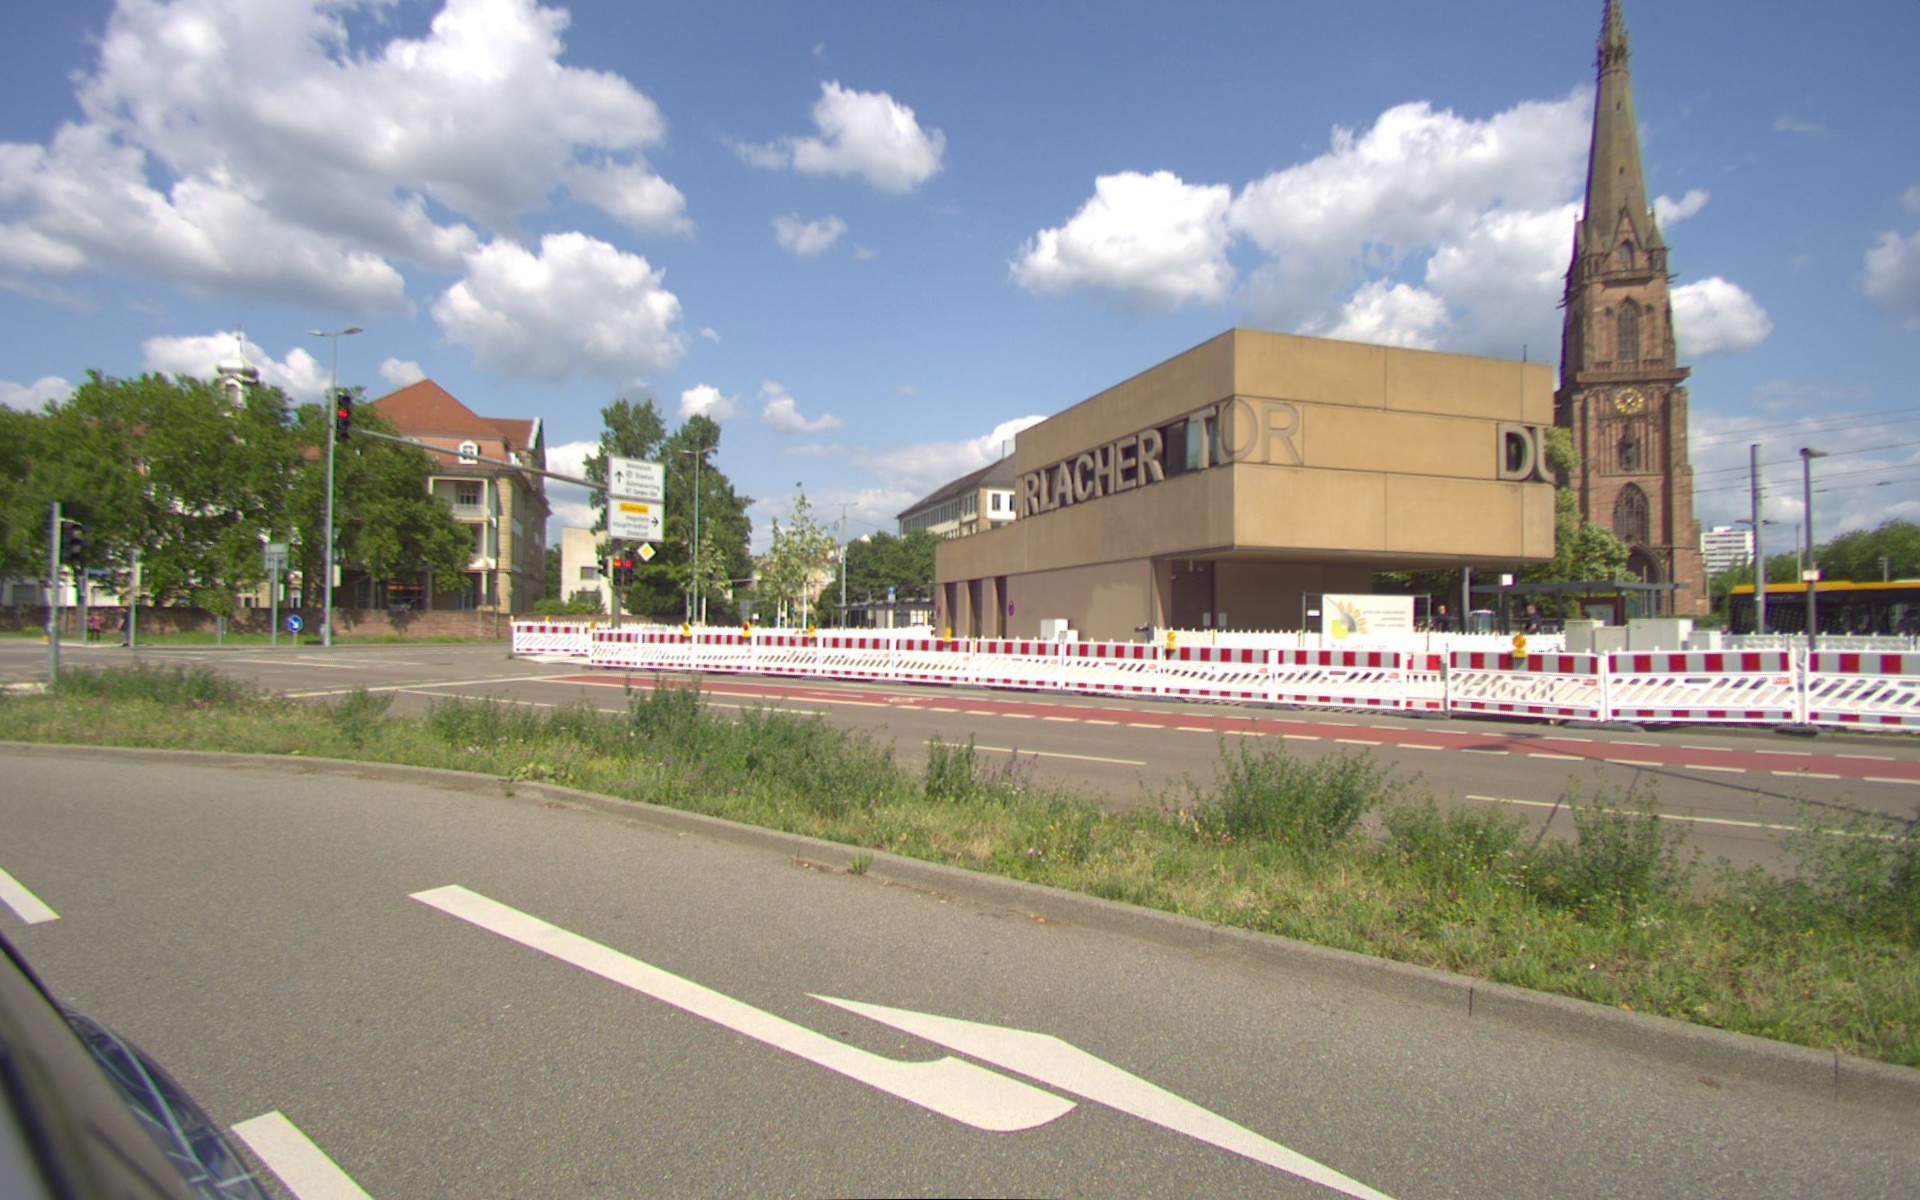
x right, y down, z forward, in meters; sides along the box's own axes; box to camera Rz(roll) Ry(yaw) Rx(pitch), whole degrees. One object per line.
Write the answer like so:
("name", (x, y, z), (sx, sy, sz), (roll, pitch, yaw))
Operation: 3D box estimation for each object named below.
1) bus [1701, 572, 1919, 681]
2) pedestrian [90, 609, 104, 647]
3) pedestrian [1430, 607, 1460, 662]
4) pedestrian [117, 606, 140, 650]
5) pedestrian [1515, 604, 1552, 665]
("bus", (29.094, 0.771, 29.447), (2.785, 3.160, 12.880), (1, -2, -18))
("pedestrian", (-40.221, 1.293, 47.181), (0.363, 1.745, 0.452), (-1, 0, -24))
("pedestrian", (14.592, 1.024, 30.425), (0.763, 1.644, 0.646), (0, -1, 30))
("pedestrian", (-38.468, 1.299, 46.815), (0.616, 2.009, 0.579), (-1, 0, 13))
("pedestrian", (15.621, 0.930, 27.580), (0.720, 1.642, 0.561), (1, -1, -27))
